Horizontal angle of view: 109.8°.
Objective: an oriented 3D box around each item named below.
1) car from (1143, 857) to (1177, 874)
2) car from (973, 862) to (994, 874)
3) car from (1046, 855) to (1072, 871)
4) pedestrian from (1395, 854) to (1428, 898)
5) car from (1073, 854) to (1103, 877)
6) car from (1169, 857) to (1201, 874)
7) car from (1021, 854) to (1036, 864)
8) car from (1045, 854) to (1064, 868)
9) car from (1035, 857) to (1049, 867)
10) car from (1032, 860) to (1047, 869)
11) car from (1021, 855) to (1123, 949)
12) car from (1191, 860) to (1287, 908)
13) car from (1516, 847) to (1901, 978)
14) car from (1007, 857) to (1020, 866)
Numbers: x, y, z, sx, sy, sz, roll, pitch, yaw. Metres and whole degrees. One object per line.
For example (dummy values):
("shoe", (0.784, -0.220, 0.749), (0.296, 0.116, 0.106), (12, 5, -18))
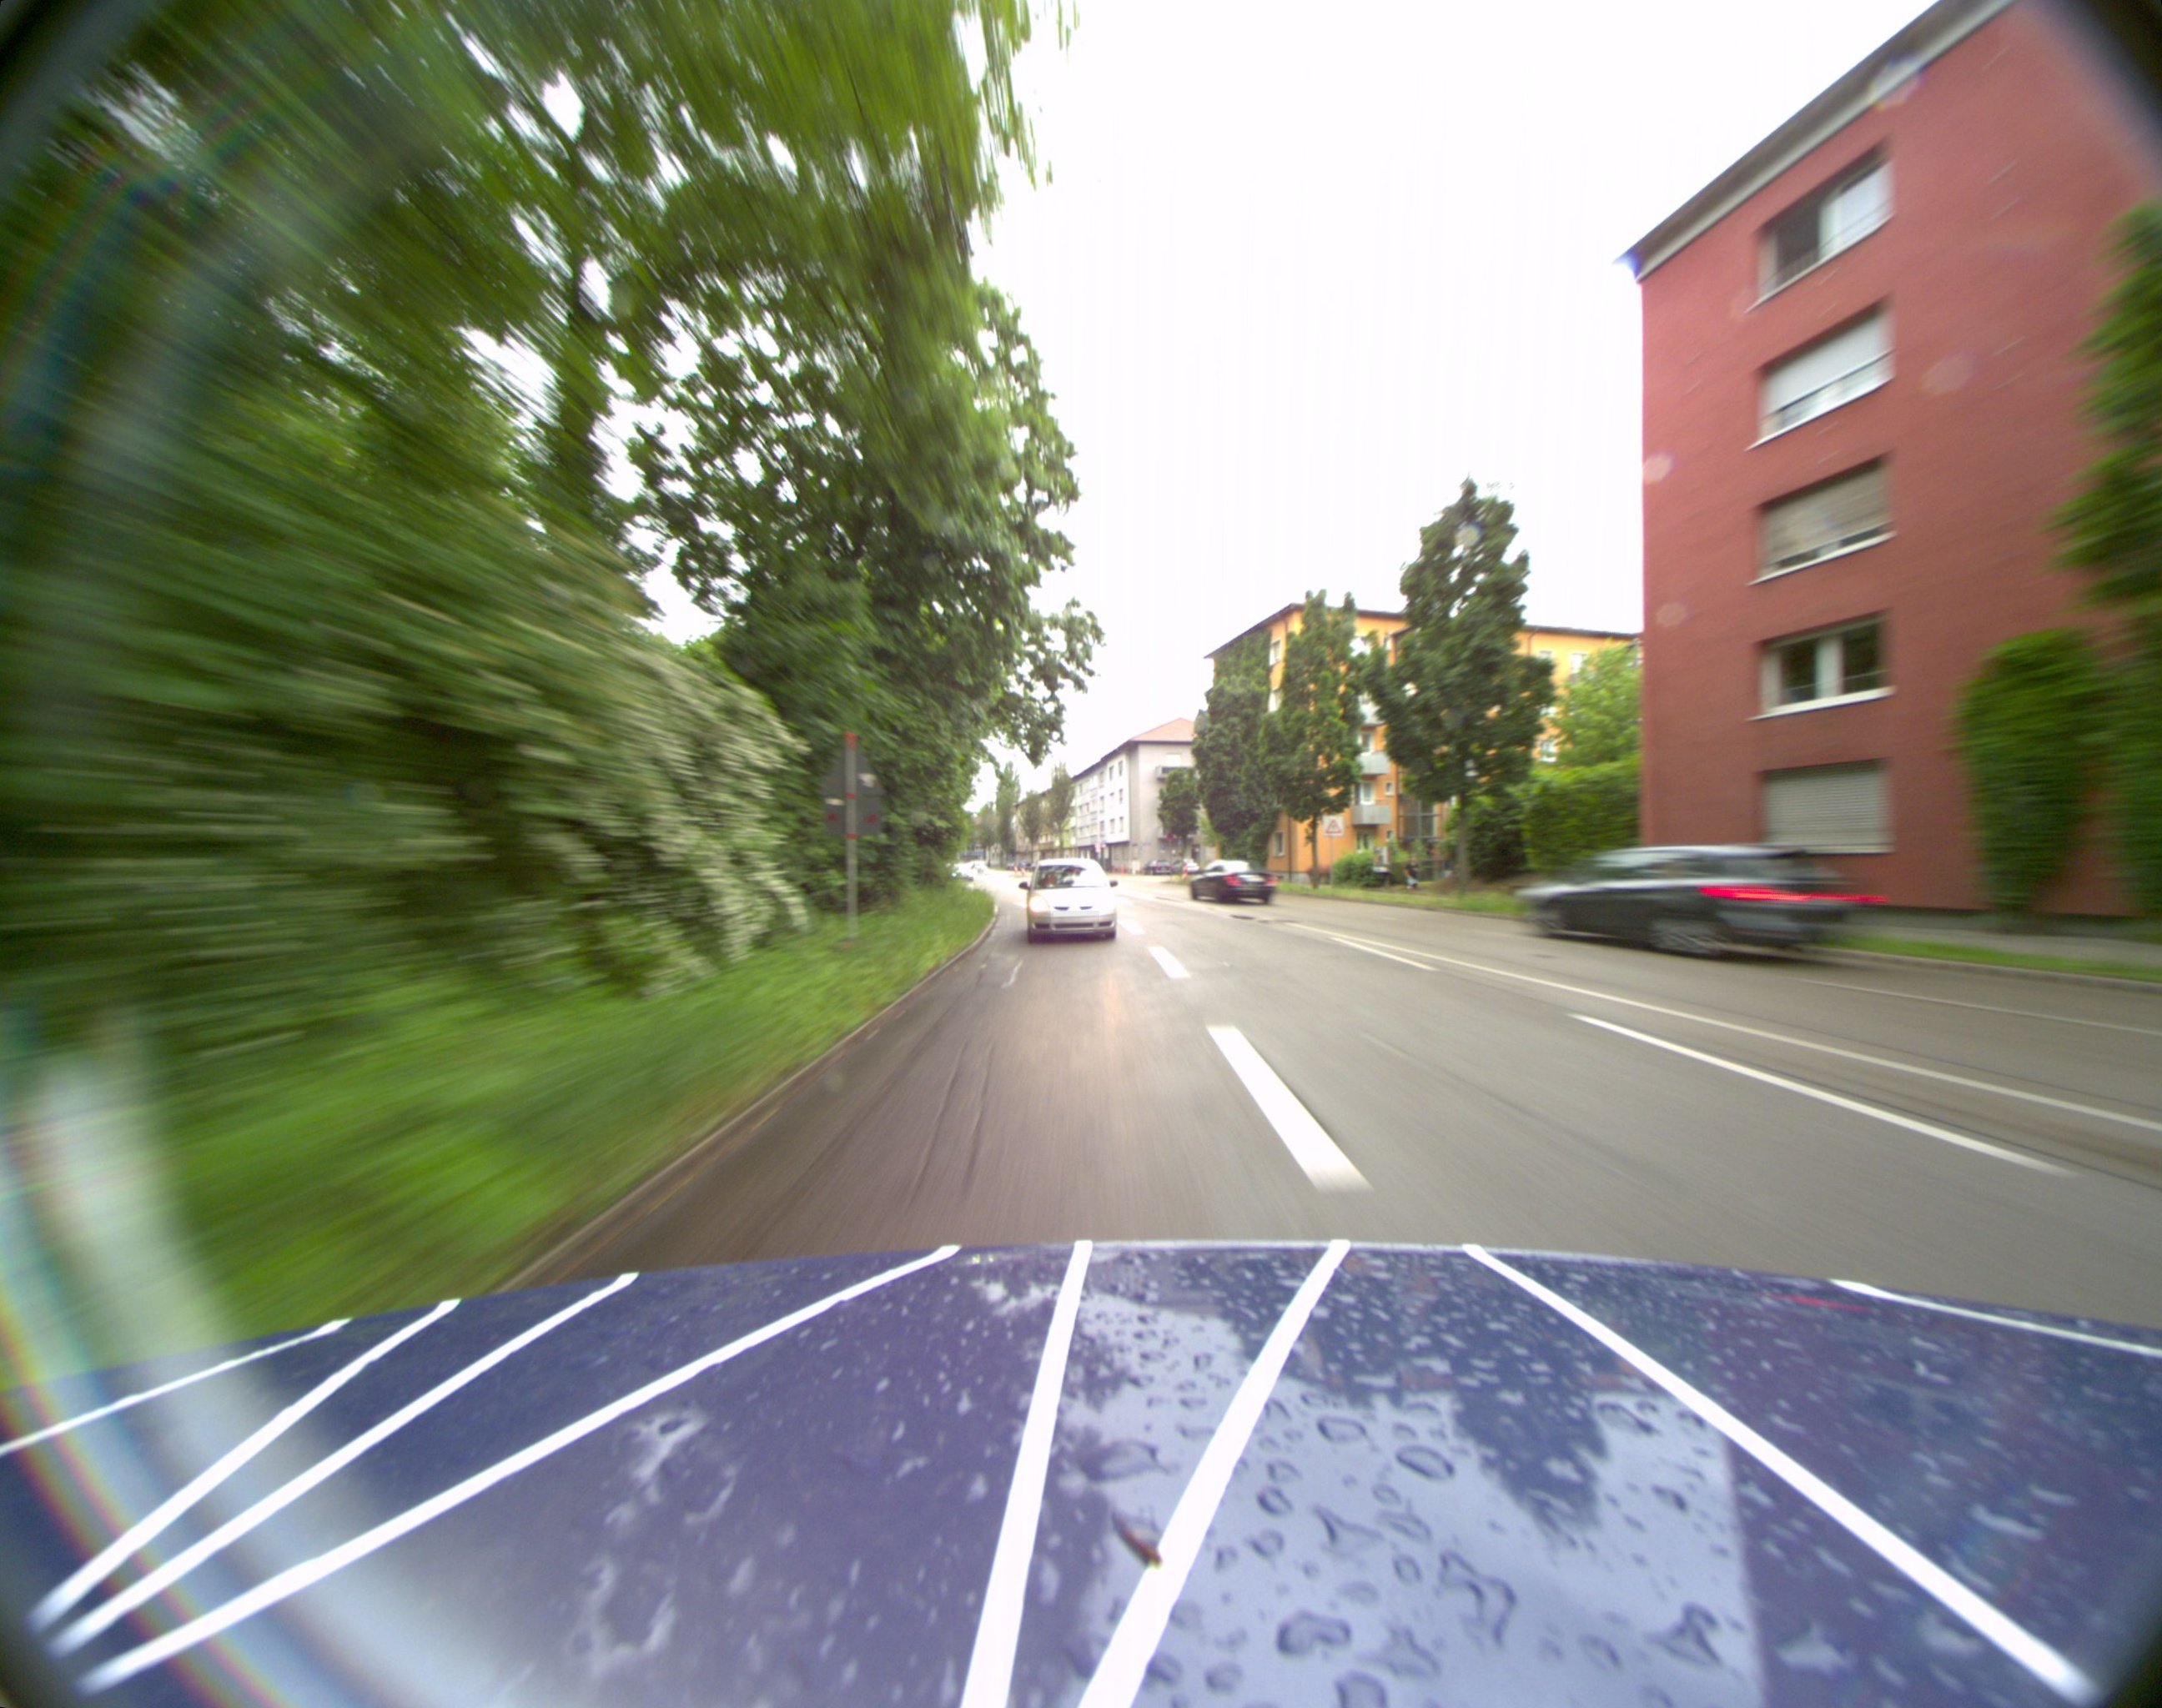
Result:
("car", (7.368, 1.053, 71.654), (1.857, 1.477, 4.630), (-3, 1, -11))
("car", (-11.919, 1.706, 92.724), (2.001, 1.455, 3.995), (0, 0, -16))
("car", (-2.411, 0.993, 81.691), (1.929, 1.621, 4.496), (1, 0, -14))
("pedestrian", (11.183, 0.733, 25.729), (0.673, 1.440, 0.835), (0, 0, -9))
("car", (0.466, 0.780, 53.756), (1.681, 1.553, 4.140), (-1, 0, -6))
("car", (9.901, 1.052, 72.439), (1.736, 1.516, 4.224), (0, 0, -11))
("car", (-8.834, 0.836, 127.769), (1.870, 1.504, 3.995), (-1, 0, -13))
("car", (-3.762, 0.995, 105.948), (1.906, 1.859, 4.311), (-1, 0, -12))
("car", (-5.783, 1.168, 111.085), (1.549, 1.369, 3.445), (0, -1, -12))
("car", (-6.365, 1.603, 115.965), (1.549, 1.338, 4.248), (1, 0, -14))
("car", (-0.293, 0.868, 15.599), (1.755, 1.586, 4.168), (-2, 0, -4))
("car", (5.024, 0.912, 24.837), (1.847, 1.377, 4.358), (1, 0, -6))
("car", (9.041, 0.737, 11.598), (1.880, 1.593, 4.461), (1, 0, -7))
("car", (-12.690, 1.403, 142.521), (1.870, 1.591, 4.169), (0, 0, -13))
